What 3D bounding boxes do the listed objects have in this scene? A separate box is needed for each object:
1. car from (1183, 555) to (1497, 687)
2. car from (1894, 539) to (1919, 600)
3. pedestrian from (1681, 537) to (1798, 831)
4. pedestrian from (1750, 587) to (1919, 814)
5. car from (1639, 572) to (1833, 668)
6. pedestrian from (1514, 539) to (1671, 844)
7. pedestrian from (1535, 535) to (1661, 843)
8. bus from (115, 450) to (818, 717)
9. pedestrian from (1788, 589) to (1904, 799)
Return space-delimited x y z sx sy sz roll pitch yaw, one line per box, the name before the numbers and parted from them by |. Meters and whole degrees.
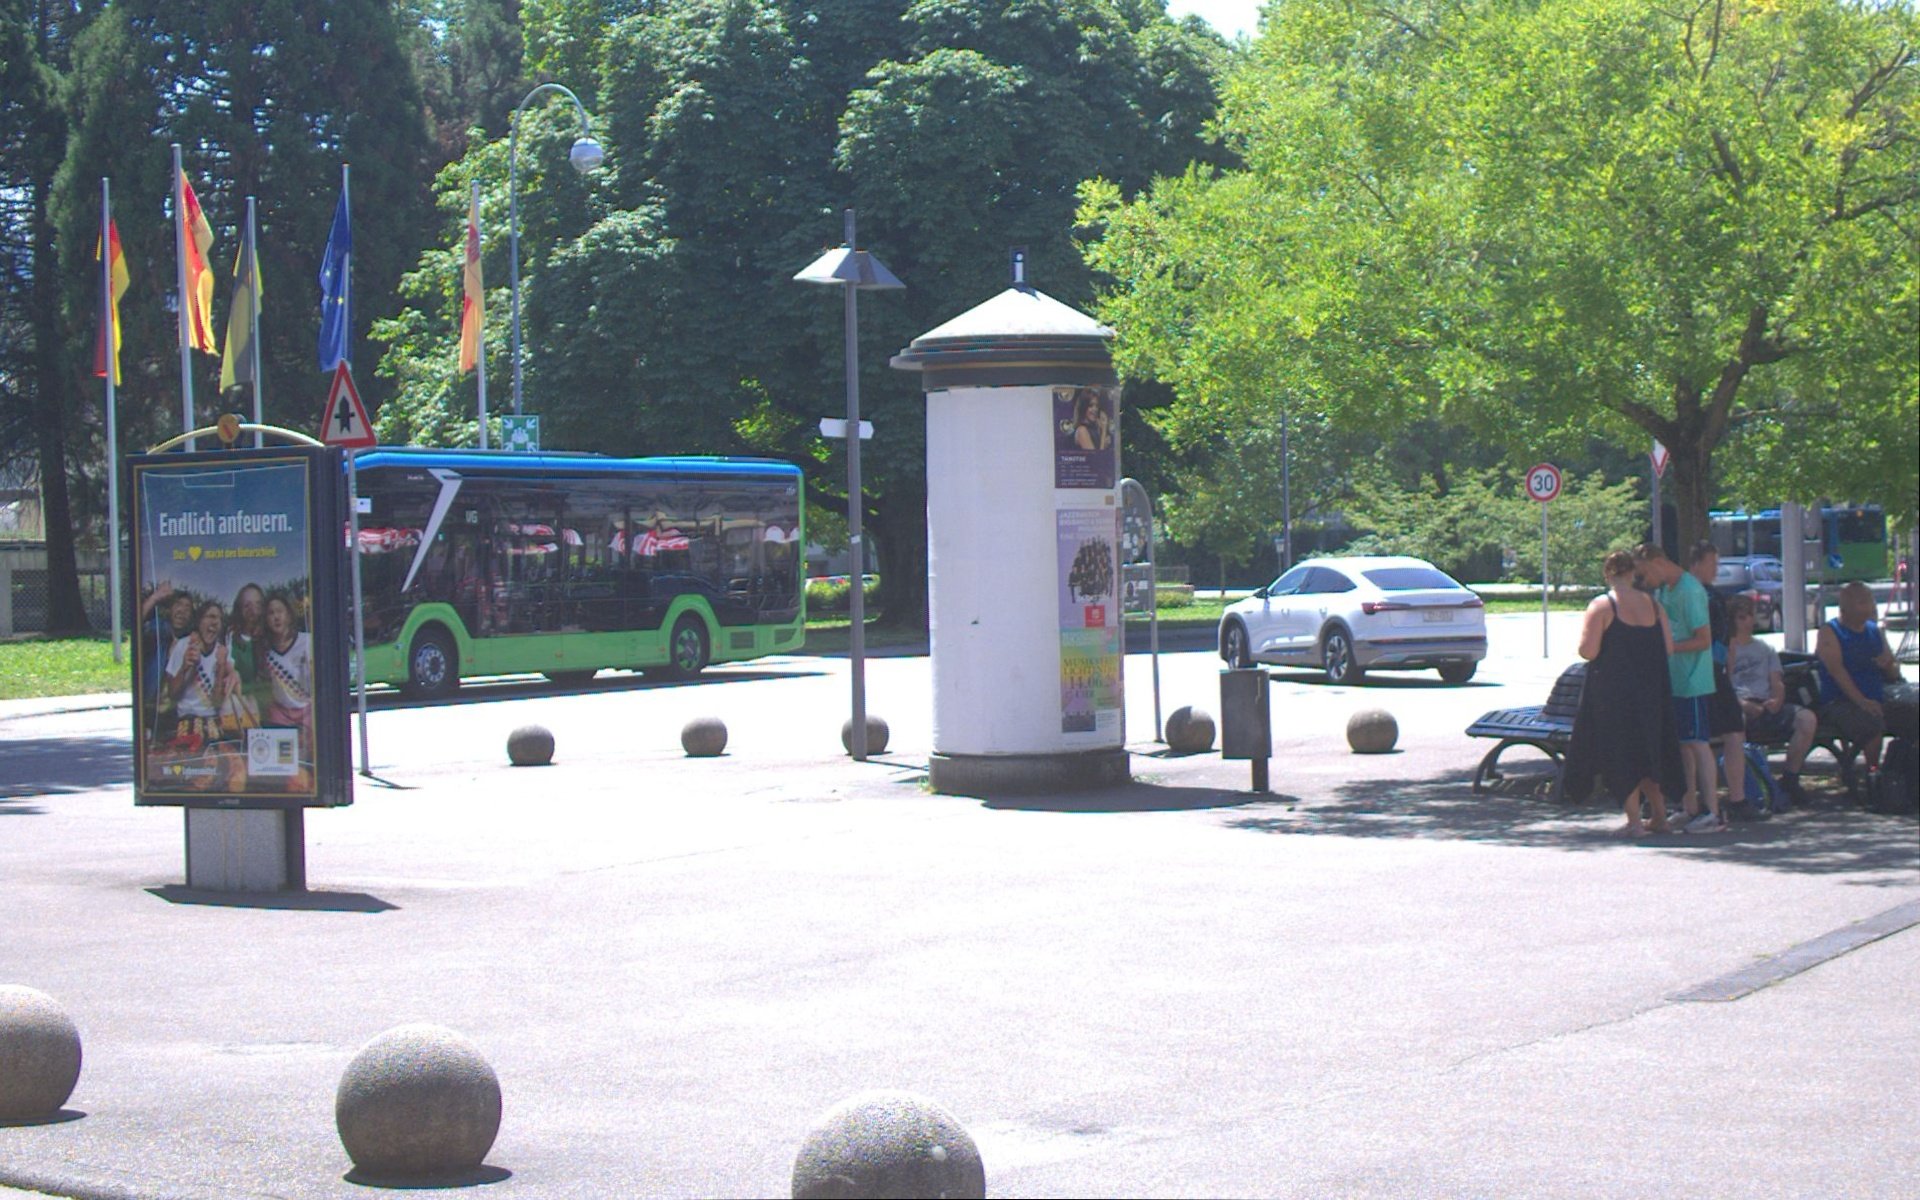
car | 4.950 0.260 45.511 1.982 1.621 4.779 -1 0 -24
car | 35.270 -1.093 121.435 2.202 2.165 4.883 -1 0 -16
pedestrian | 4.681 0.496 20.676 0.583 1.734 0.600 -1 0 4
pedestrian | 5.535 0.615 21.589 0.910 1.381 0.944 -1 0 0
car | 13.212 0.318 58.323 1.929 1.455 4.717 -4 -1 29
pedestrian | 3.731 0.525 20.270 0.693 1.758 0.584 -1 0 39
pedestrian | 3.647 0.501 19.683 0.626 1.734 0.548 -1 0 4
bus | -6.441 -0.290 48.256 2.813 3.272 12.405 -1 1 29
pedestrian | 5.863 0.613 22.769 0.597 1.360 0.600 -1 0 1
